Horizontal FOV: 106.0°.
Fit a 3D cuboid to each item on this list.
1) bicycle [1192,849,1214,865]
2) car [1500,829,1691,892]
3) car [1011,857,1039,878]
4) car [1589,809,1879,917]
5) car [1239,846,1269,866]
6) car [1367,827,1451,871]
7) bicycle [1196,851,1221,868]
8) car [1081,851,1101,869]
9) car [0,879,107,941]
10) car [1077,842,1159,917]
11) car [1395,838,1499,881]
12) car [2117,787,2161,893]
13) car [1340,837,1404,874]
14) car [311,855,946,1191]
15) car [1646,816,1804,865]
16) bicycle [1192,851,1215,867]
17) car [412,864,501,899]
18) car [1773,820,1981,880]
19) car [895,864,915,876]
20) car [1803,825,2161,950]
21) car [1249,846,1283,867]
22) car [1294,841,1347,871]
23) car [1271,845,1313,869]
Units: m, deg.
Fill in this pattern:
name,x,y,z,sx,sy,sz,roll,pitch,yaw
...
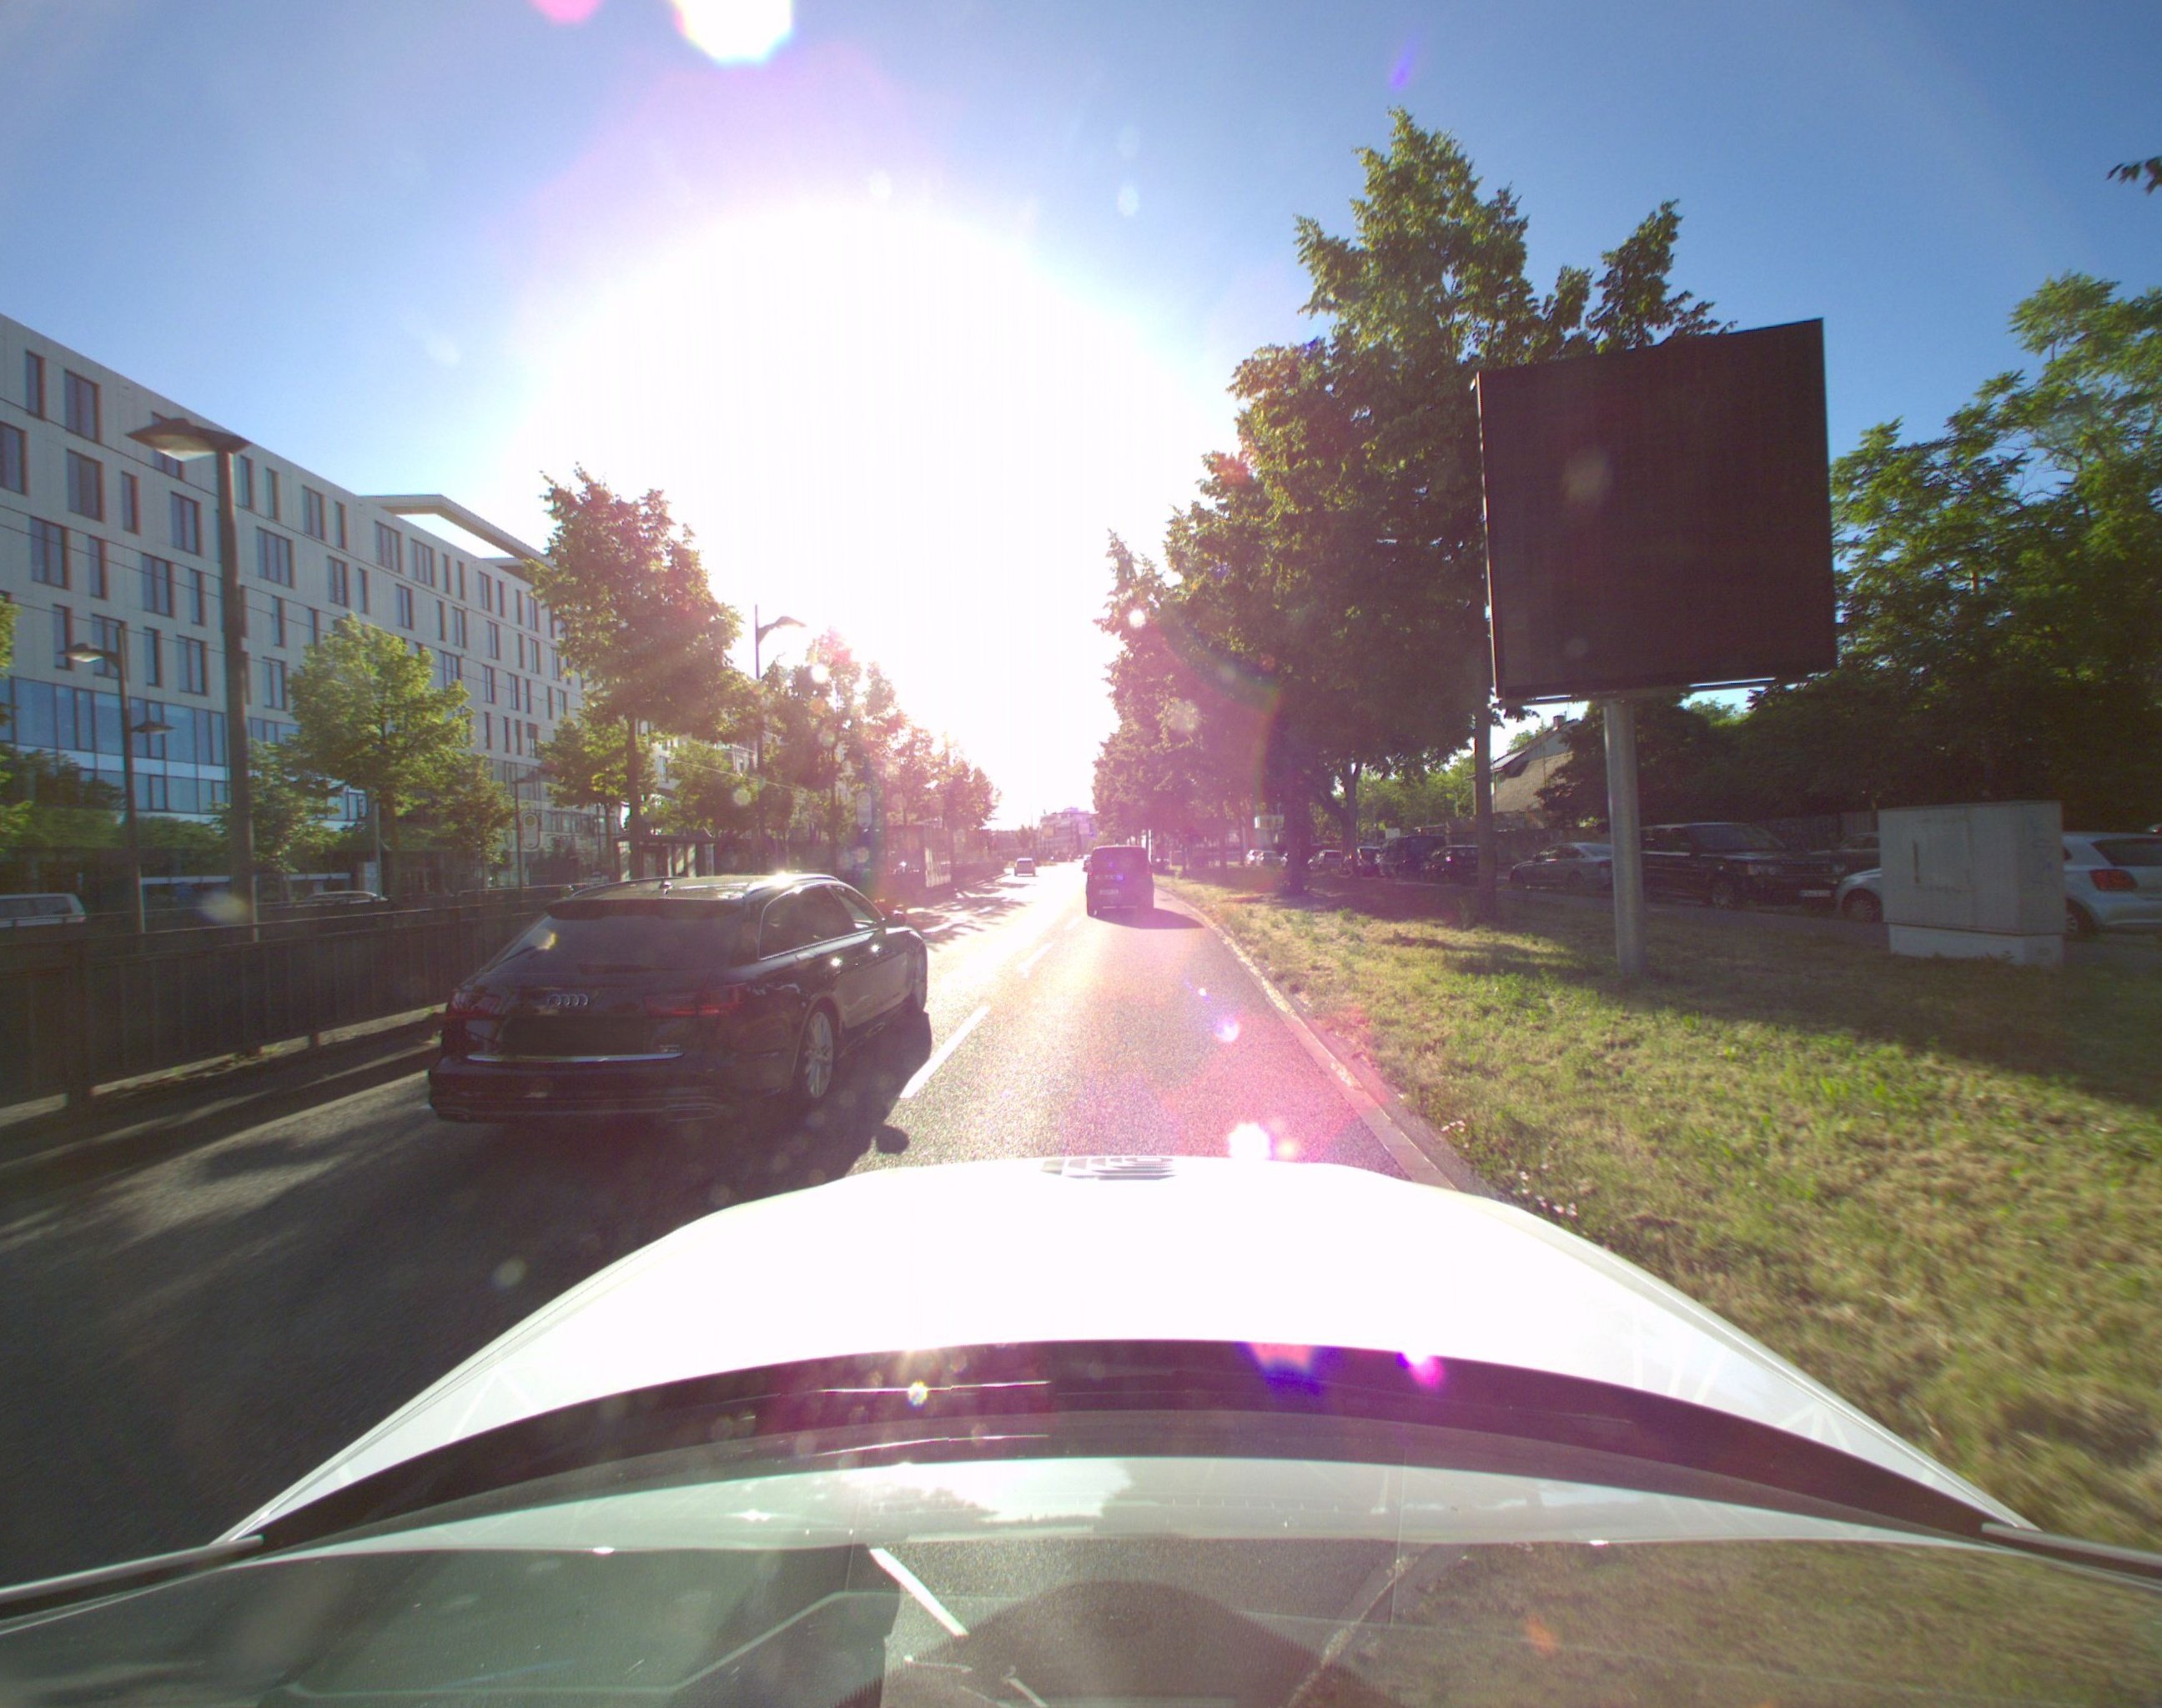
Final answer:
name,x,y,z,sx,sy,sz,roll,pitch,yaw
bicycle,10.078,0.237,67.296,1.773,1.268,0.479,-2,0,0
car,13.323,0.183,21.531,1.866,1.434,4.899,-1,-1,-1
car,-4.611,1.123,67.365,1.987,1.618,3.998,-1,-1,-1
car,12.754,0.175,16.452,1.866,1.820,4.890,-1,-1,-1
car,15.524,0.196,73.228,1.865,1.684,3.999,-1,-1,0
car,13.681,-0.175,34.244,1.866,1.684,3.998,-1,-1,-1
bicycle,10.203,0.432,65.286,1.911,1.268,0.479,-2,0,0
car,1.252,0.682,99.041,2.262,2.013,4.710,-2,0,0
car,-32.088,1.653,23.548,1.987,1.714,4.851,-1,-1,0
car,0.920,0.667,22.392,1.805,1.838,3.994,-1,-1,-4
car,12.965,0.204,29.126,1.866,1.367,3.998,-1,-1,-1
car,21.513,-0.346,13.793,1.865,2.002,4.690,-4,-1,0
car,14.223,0.096,40.067,1.863,1.684,4.003,-1,-1,3
car,-2.502,0.779,6.283,1.946,1.480,5.086,-1,0,1
car,22.646,-0.416,28.921,1.865,1.483,4.690,-4,-1,0
bicycle,9.977,0.426,66.158,1.773,1.268,0.479,-1,-1,0
car,-38.886,1.687,50.865,1.987,2.014,4.562,-1,-1,0
car,22.169,-0.080,22.964,1.724,1.371,4.317,-5,-1,3
car,-27.058,2.381,125.631,1.985,1.765,4.003,-1,-1,3
car,12.596,0.374,11.127,1.866,1.389,3.998,-1,-1,-1
car,15.556,0.223,68.709,1.866,1.684,3.997,-1,-1,-2
car,14.520,0.136,49.621,1.866,1.684,3.997,-4,-1,-2
car,15.397,0.246,59.592,1.866,1.684,3.997,-1,-1,-2
